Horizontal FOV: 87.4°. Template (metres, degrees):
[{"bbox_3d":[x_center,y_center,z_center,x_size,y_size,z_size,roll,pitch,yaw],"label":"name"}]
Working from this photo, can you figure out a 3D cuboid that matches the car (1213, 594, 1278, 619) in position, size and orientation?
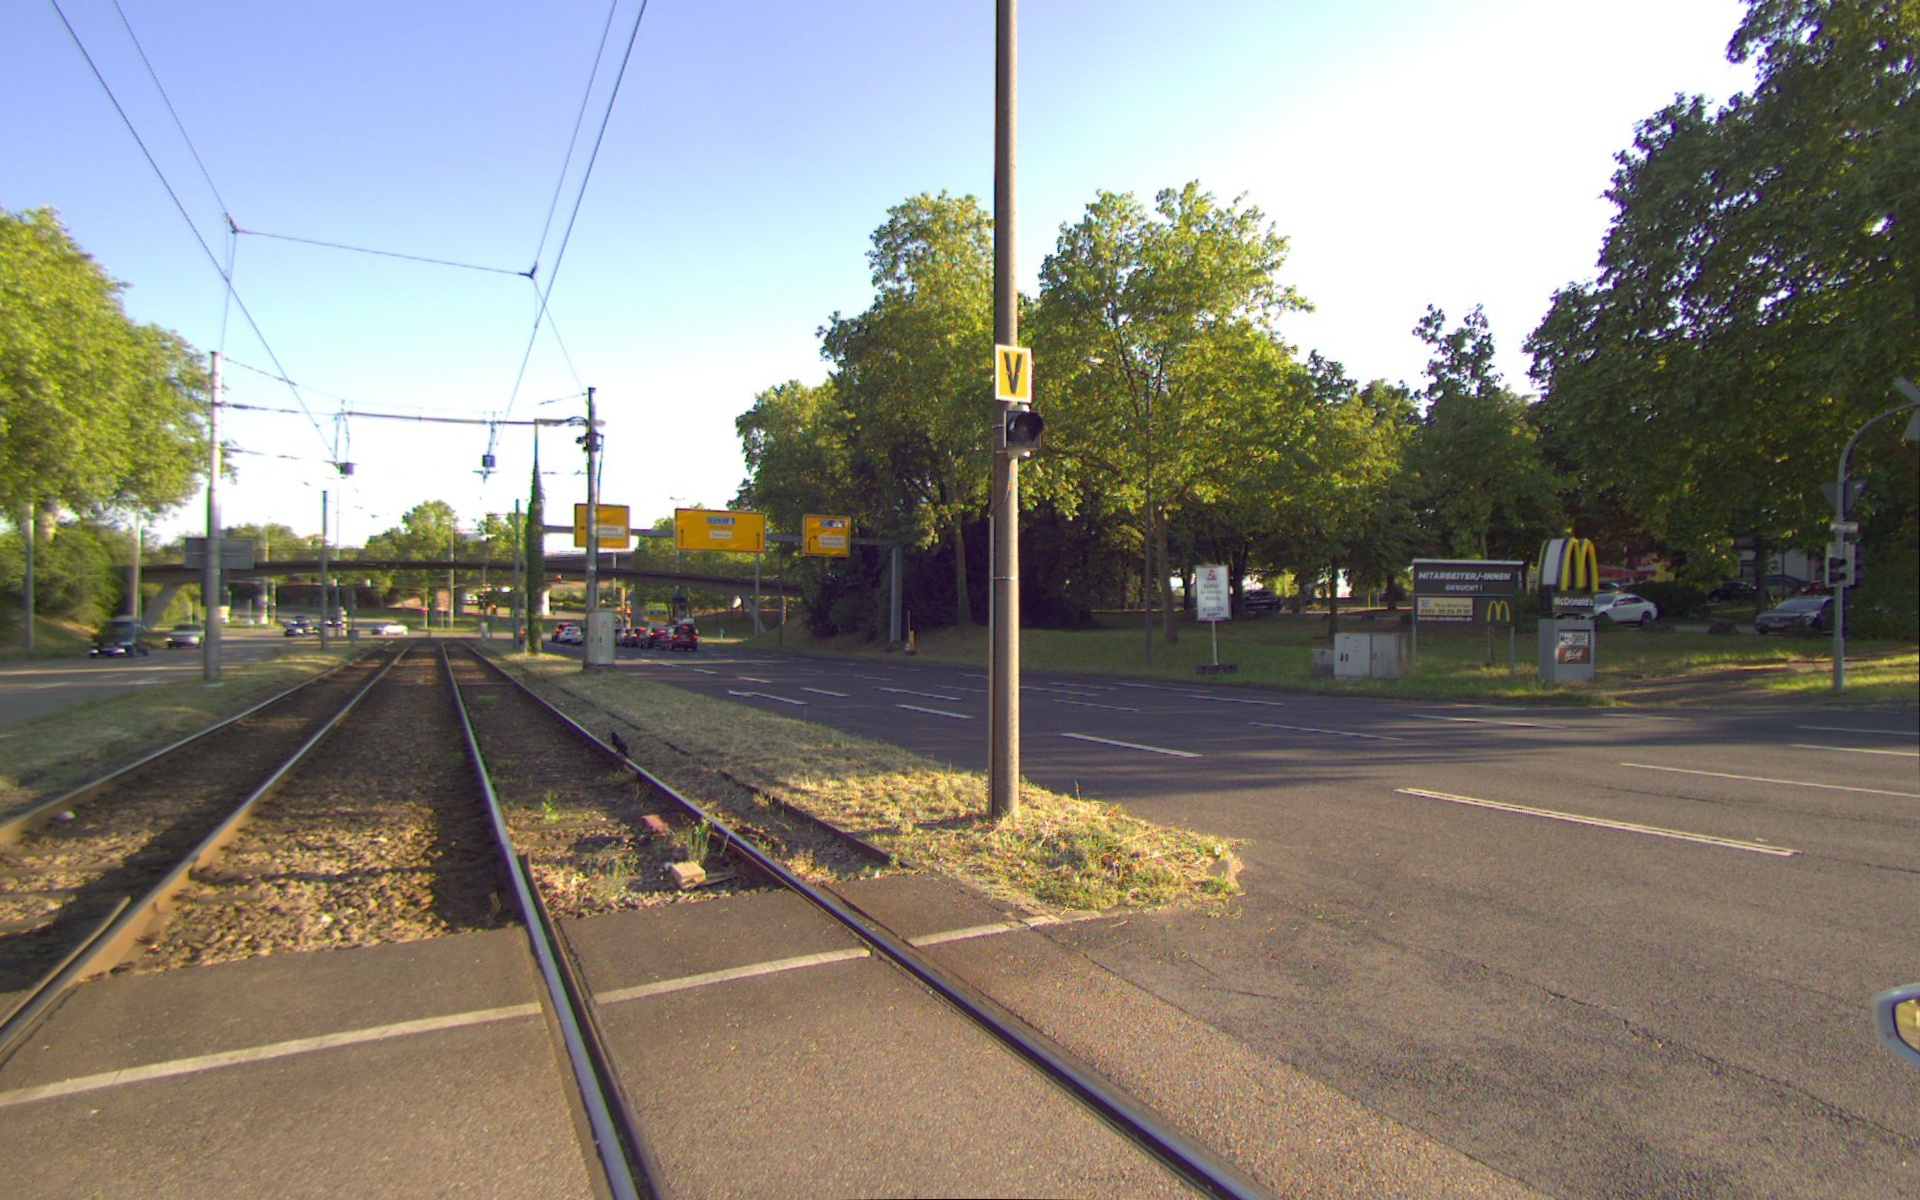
[{"bbox_3d":[18.893,0.417,66.483,3.942,1.572,1.798,0,-1,-22],"label":"car"}]

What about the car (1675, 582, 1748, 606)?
[{"bbox_3d":[52.911,-0.405,70.765,3.945,1.572,1.797,-1,-1,44],"label":"car"}]

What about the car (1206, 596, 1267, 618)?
[{"bbox_3d":[20.161,0.519,73.335,3.931,1.572,1.803,0,-1,-13],"label":"car"}]

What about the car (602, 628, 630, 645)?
[{"bbox_3d":[-30.514,3.187,88.980,1.775,1.401,4.445,0,0,-27],"label":"car"}]

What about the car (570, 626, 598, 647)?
[{"bbox_3d":[-29.949,2.859,79.892,1.647,1.586,4.161,0,0,-27],"label":"car"}]

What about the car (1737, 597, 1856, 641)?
[{"bbox_3d":[32.358,0.723,38.842,4.346,1.595,2.029,0,-1,-28],"label":"car"}]

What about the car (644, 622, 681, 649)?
[{"bbox_3d":[-21.153,2.498,71.252,1.775,1.773,4.211,0,0,-27],"label":"car"}]

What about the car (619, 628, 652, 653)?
[{"bbox_3d":[-24.802,3.053,76.732,1.775,1.773,3.972,0,0,-27],"label":"car"}]

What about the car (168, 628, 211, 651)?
[{"bbox_3d":[-52.356,2.636,68.299,1.979,1.460,4.153,0,-1,-33],"label":"car"}]

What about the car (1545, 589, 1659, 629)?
[{"bbox_3d":[29.152,0.407,45.592,4.829,1.729,1.989,0,0,-23],"label":"car"}]

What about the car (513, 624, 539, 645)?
[{"bbox_3d":[-34.955,2.756,80.934,1.647,1.586,3.972,0,0,-27],"label":"car"}]

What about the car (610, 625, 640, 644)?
[{"bbox_3d":[-27.814,2.846,83.398,1.775,1.501,3.972,0,-1,-27],"label":"car"}]

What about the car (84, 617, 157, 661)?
[{"bbox_3d":[-43.612,1.997,52.256,1.974,2.191,4.163,0,-1,-26],"label":"car"}]

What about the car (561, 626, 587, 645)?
[{"bbox_3d":[-33.050,3.033,86.035,1.724,1.451,4.383,3,-2,-25],"label":"car"}]

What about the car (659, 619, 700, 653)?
[{"bbox_3d":[-18.418,2.346,65.912,1.775,2.133,3.971,0,0,-28],"label":"car"}]
